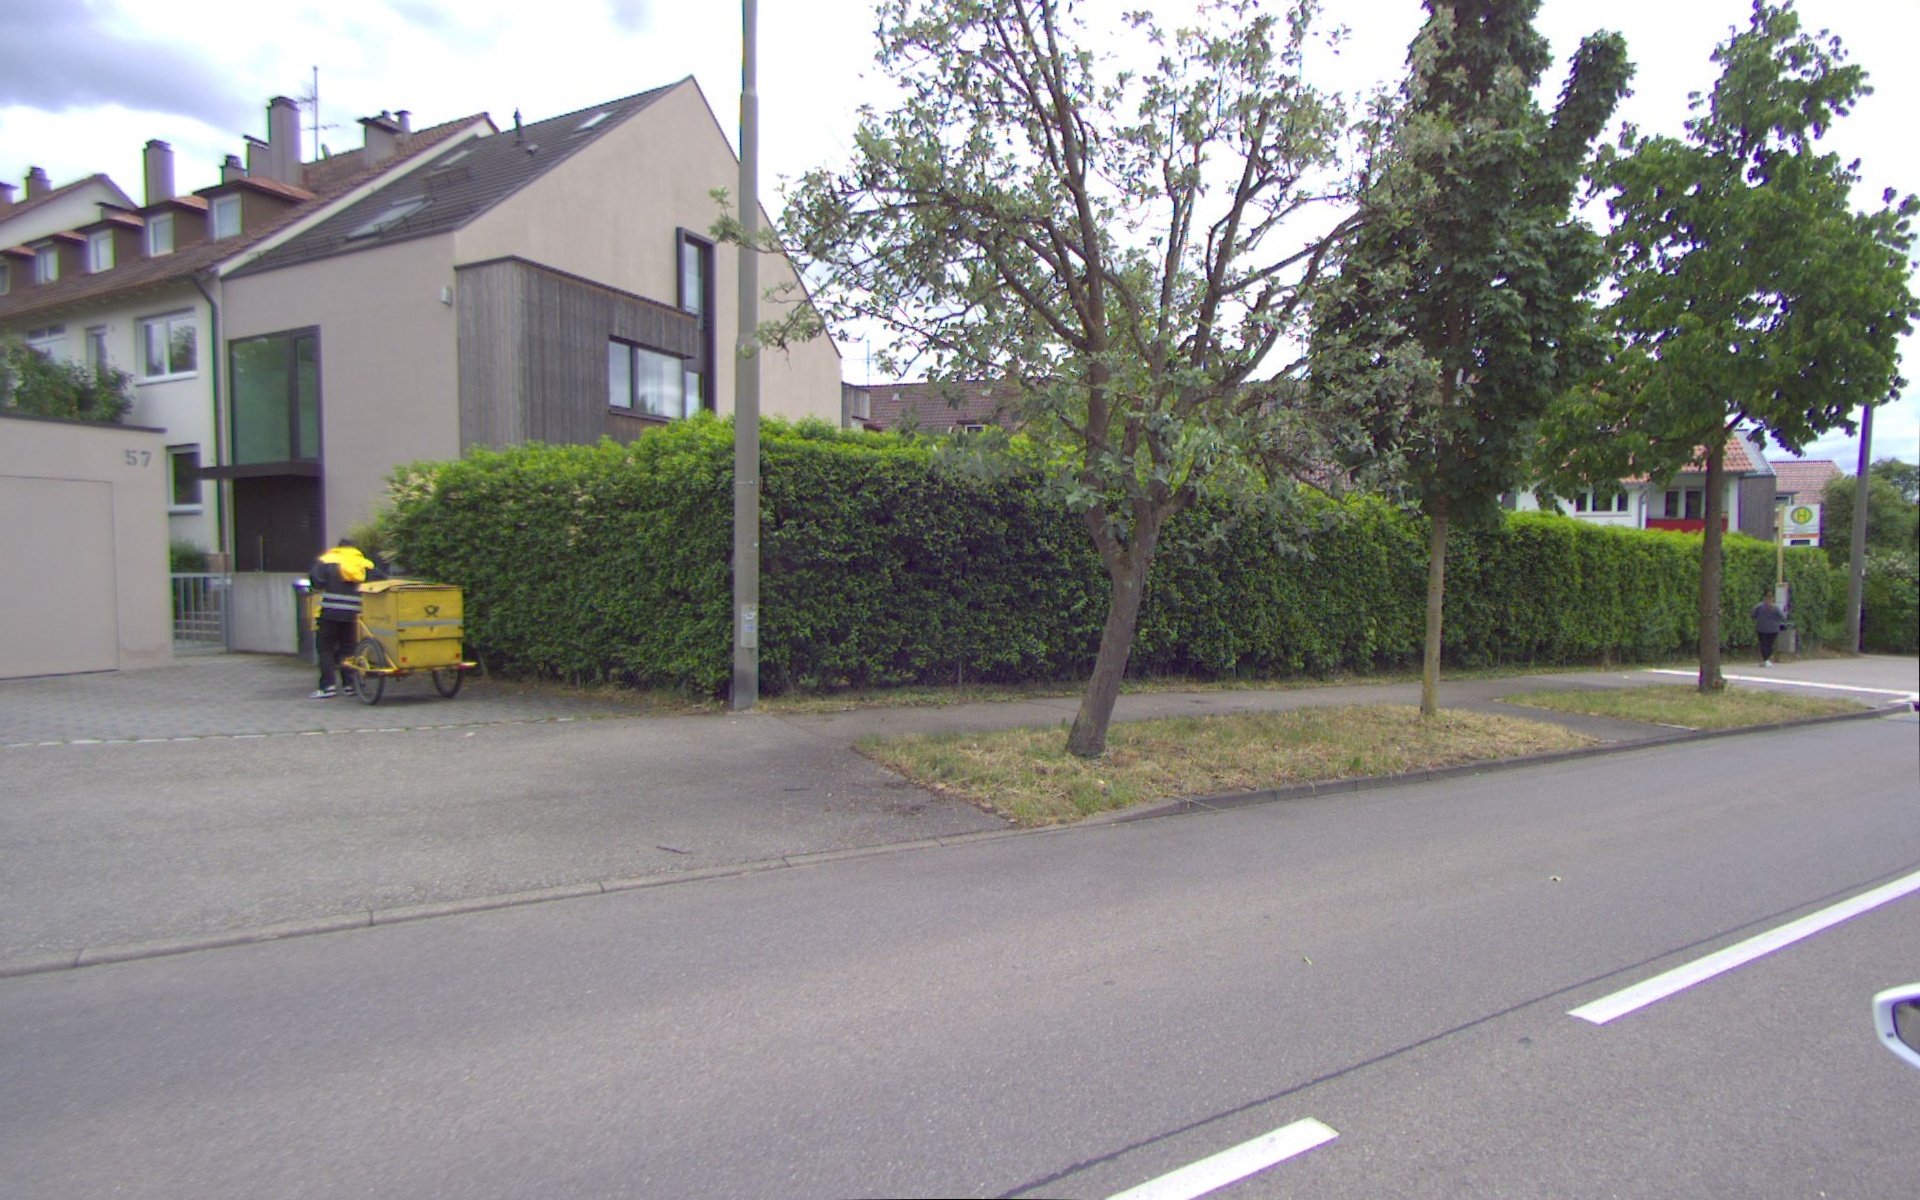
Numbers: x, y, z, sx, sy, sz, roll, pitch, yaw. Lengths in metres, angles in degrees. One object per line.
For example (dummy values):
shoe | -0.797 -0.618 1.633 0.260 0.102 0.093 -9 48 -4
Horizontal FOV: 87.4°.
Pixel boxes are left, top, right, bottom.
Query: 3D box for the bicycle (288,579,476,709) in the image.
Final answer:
bicycle | -6.328 0.408 10.926 2.580 1.221 0.844 2 3 38

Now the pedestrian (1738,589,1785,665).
pedestrian | 18.816 0.624 23.576 0.772 1.734 0.686 1 1 -40

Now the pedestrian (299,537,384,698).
pedestrian | -6.785 0.175 11.021 0.632 1.697 0.599 2 1 38
